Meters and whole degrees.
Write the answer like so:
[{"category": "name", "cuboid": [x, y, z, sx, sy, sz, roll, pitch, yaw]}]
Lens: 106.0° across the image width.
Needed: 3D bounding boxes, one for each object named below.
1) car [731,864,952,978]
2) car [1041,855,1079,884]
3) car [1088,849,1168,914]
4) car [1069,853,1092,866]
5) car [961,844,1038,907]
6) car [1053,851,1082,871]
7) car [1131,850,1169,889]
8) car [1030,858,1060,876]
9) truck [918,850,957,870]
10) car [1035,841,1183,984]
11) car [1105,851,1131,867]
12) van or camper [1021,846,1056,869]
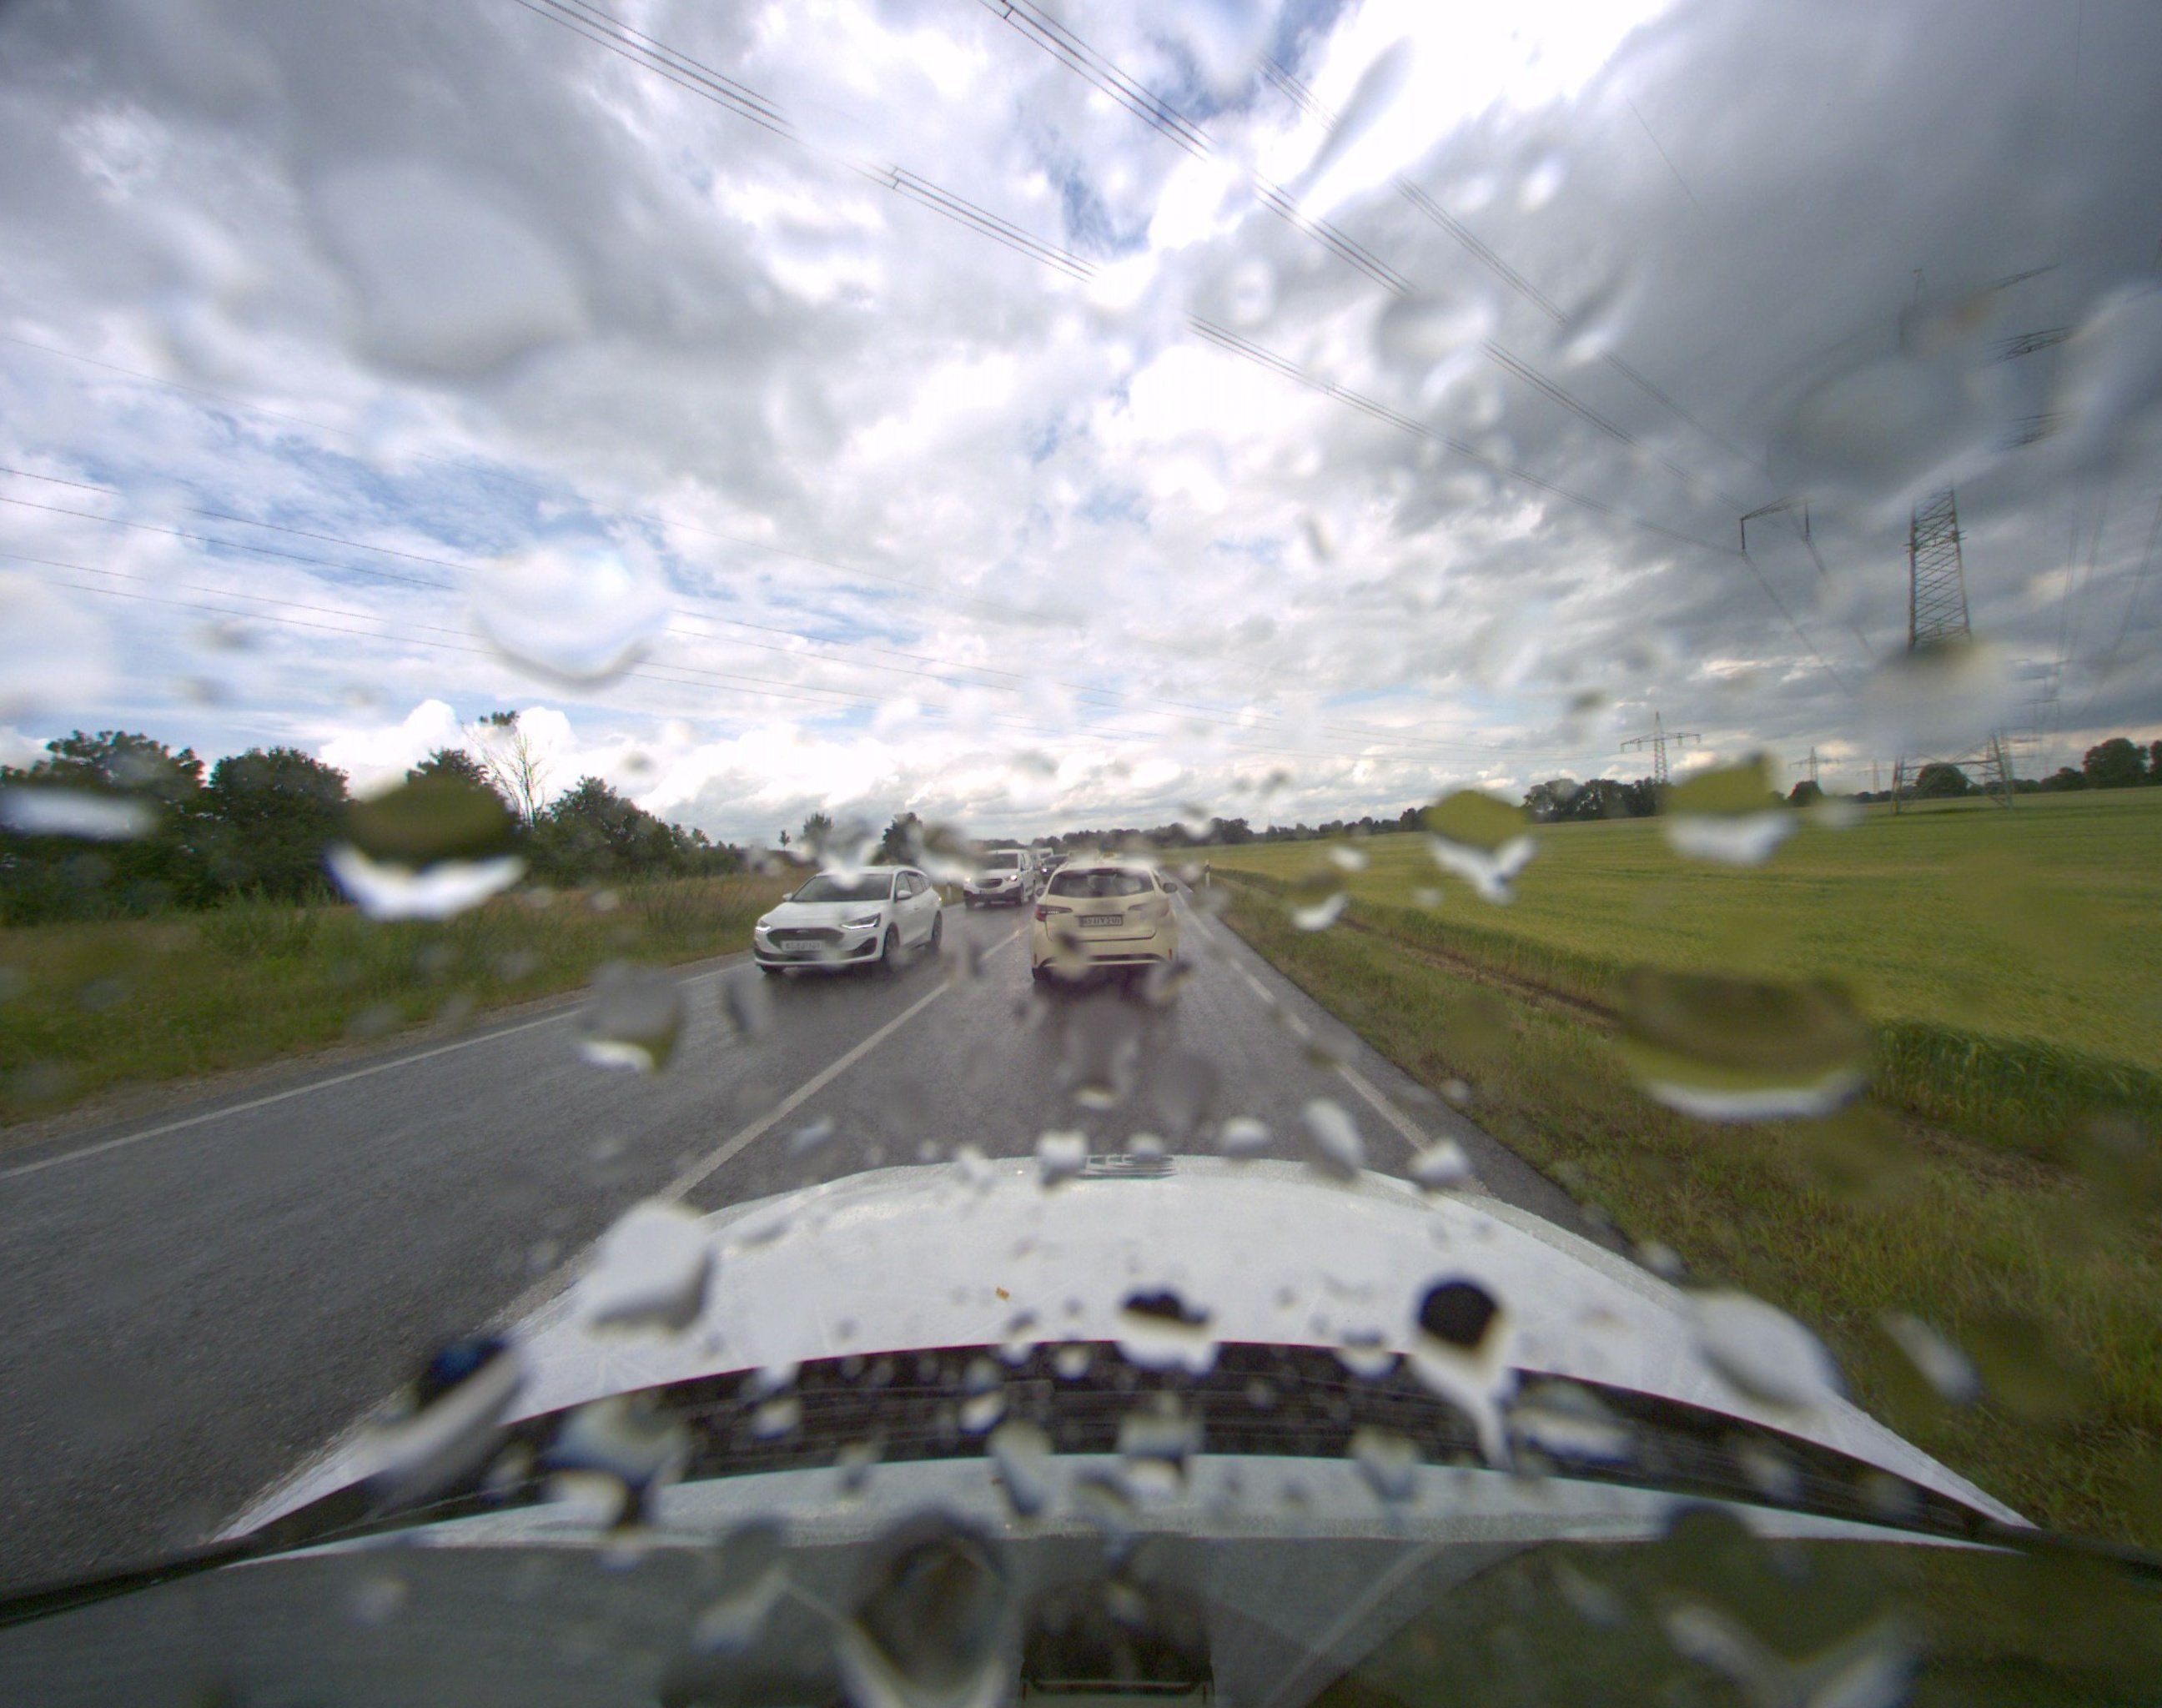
[{"category": "car", "cuboid": [-3.390, 0.881, 12.486, 1.836, 1.388, 4.291, -2, -1, 4]}, {"category": "car", "cuboid": [-1.236, 0.898, 49.983, 1.840, 1.631, 4.540, -2, 0, 4]}, {"category": "car", "cuboid": [1.200, 0.649, 21.115, 1.834, 1.492, 4.611, -1, 0, 3]}, {"category": "car", "cuboid": [-0.100, 0.658, 92.174, 1.785, 1.413, 3.722, 0, -2, -13]}, {"category": "car", "cuboid": [-2.555, 0.676, 26.475, 1.837, 1.855, 4.449, -1, -1, 2]}, {"category": "car", "cuboid": [-1.122, 0.570, 64.637, 1.847, 1.448, 4.080, -3, 0, -7]}, {"category": "car", "cuboid": [3.101, 0.701, 36.754, 1.605, 1.659, 3.742, -1, -2, 4]}, {"category": "car", "cuboid": [-3.567, 1.229, 78.858, 1.931, 1.631, 4.696, -2, 0, -15]}, {"category": "truck", "cuboid": [-24.660, 1.101, 139.394, 3.038, 3.210, 8.138, 1, -2, -38]}, {"category": "car", "cuboid": [0.390, 0.691, 10.819, 1.606, 1.562, 3.740, -1, -2, 2]}, {"category": "car", "cuboid": [3.349, 0.466, 74.879, 1.955, 1.413, 4.386, 0, -1, -3]}, {"category": "van or camper", "cuboid": [-5.739, 0.445, 108.692, 2.548, 2.896, 6.690, -1, 0, -23]}]
